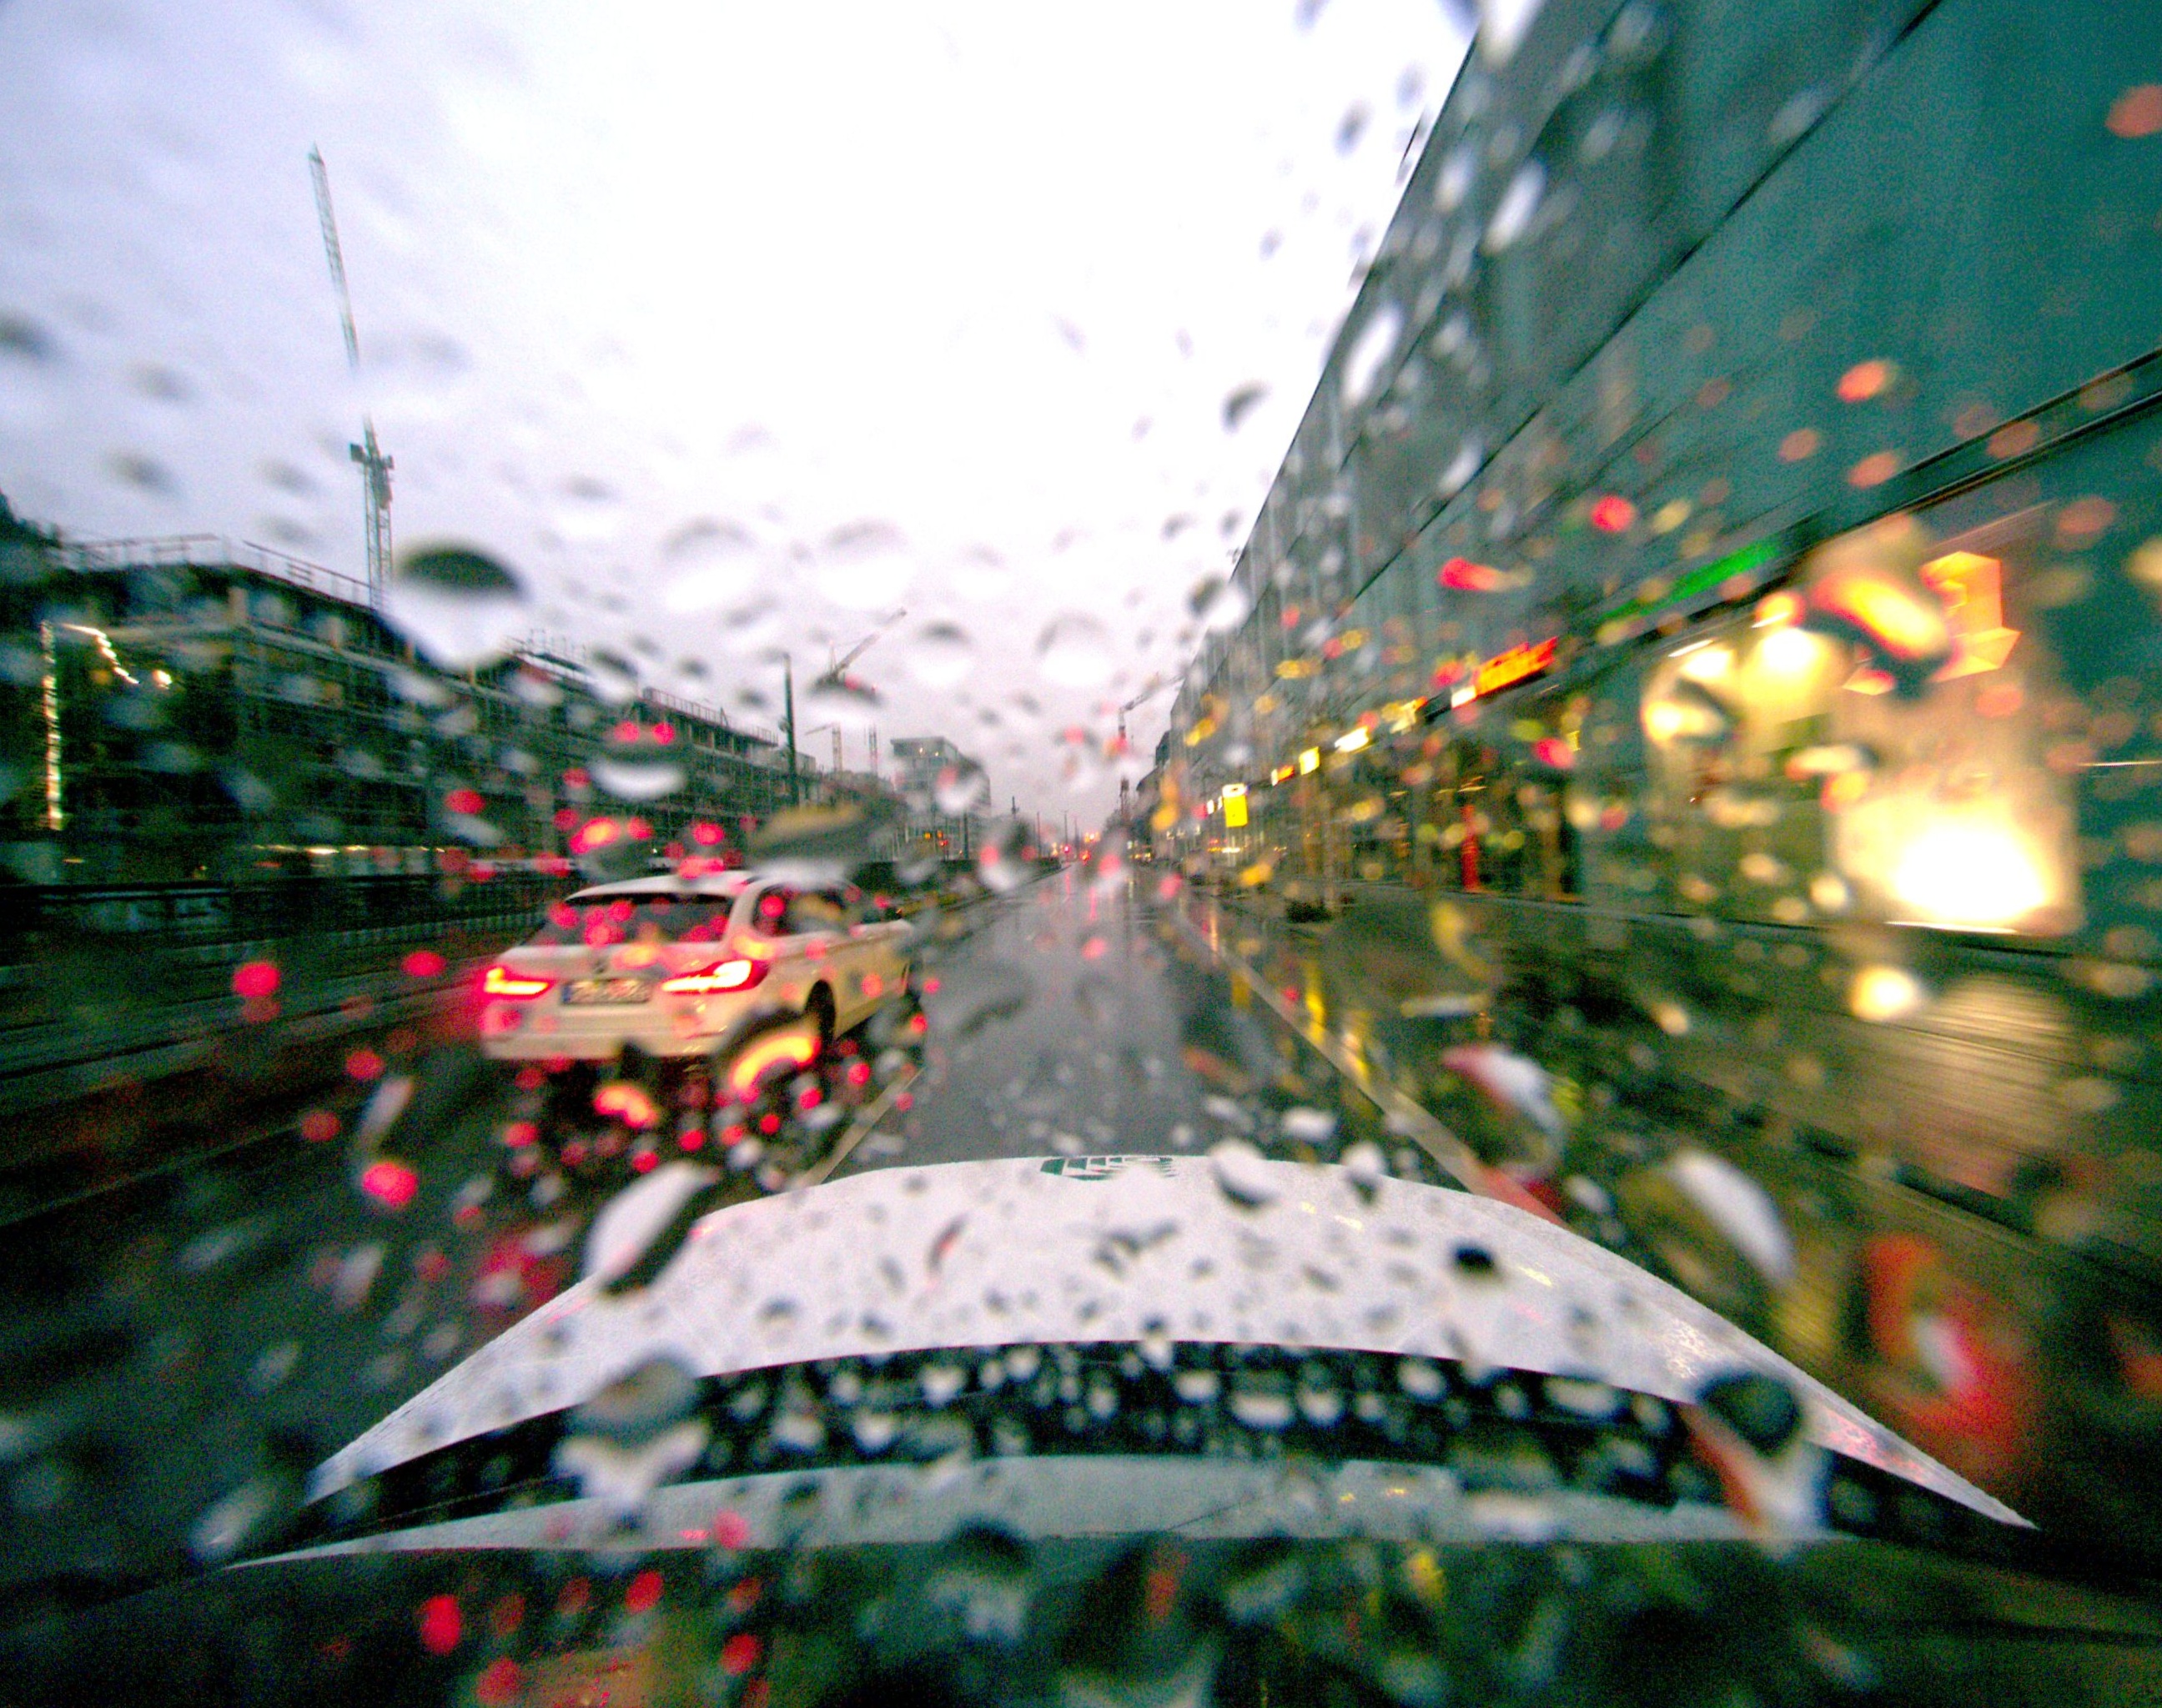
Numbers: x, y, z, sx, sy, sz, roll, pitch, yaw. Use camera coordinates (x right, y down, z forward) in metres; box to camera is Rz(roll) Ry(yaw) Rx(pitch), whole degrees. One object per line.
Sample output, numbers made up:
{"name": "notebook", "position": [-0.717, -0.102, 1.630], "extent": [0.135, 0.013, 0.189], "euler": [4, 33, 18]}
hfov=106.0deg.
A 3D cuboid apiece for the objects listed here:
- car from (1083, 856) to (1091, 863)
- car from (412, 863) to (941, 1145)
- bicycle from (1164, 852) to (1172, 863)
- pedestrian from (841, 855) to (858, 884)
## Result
{"name": "car", "position": [1.392, 1.288, 189.146], "extent": [1.894, 1.642, 4.002], "euler": [-2, 0, 2]}
{"name": "car", "position": [-2.667, 0.860, 6.970], "extent": [1.844, 1.465, 4.950], "euler": [-2, 0, 2]}
{"name": "bicycle", "position": [10.721, 0.425, 99.961], "extent": [0.680, 1.222, 1.905], "euler": [-5, -1, 0]}
{"name": "pedestrian", "position": [-12.641, 0.860, 44.469], "extent": [0.580, 1.550, 0.743], "euler": [-2, 0, 12]}
